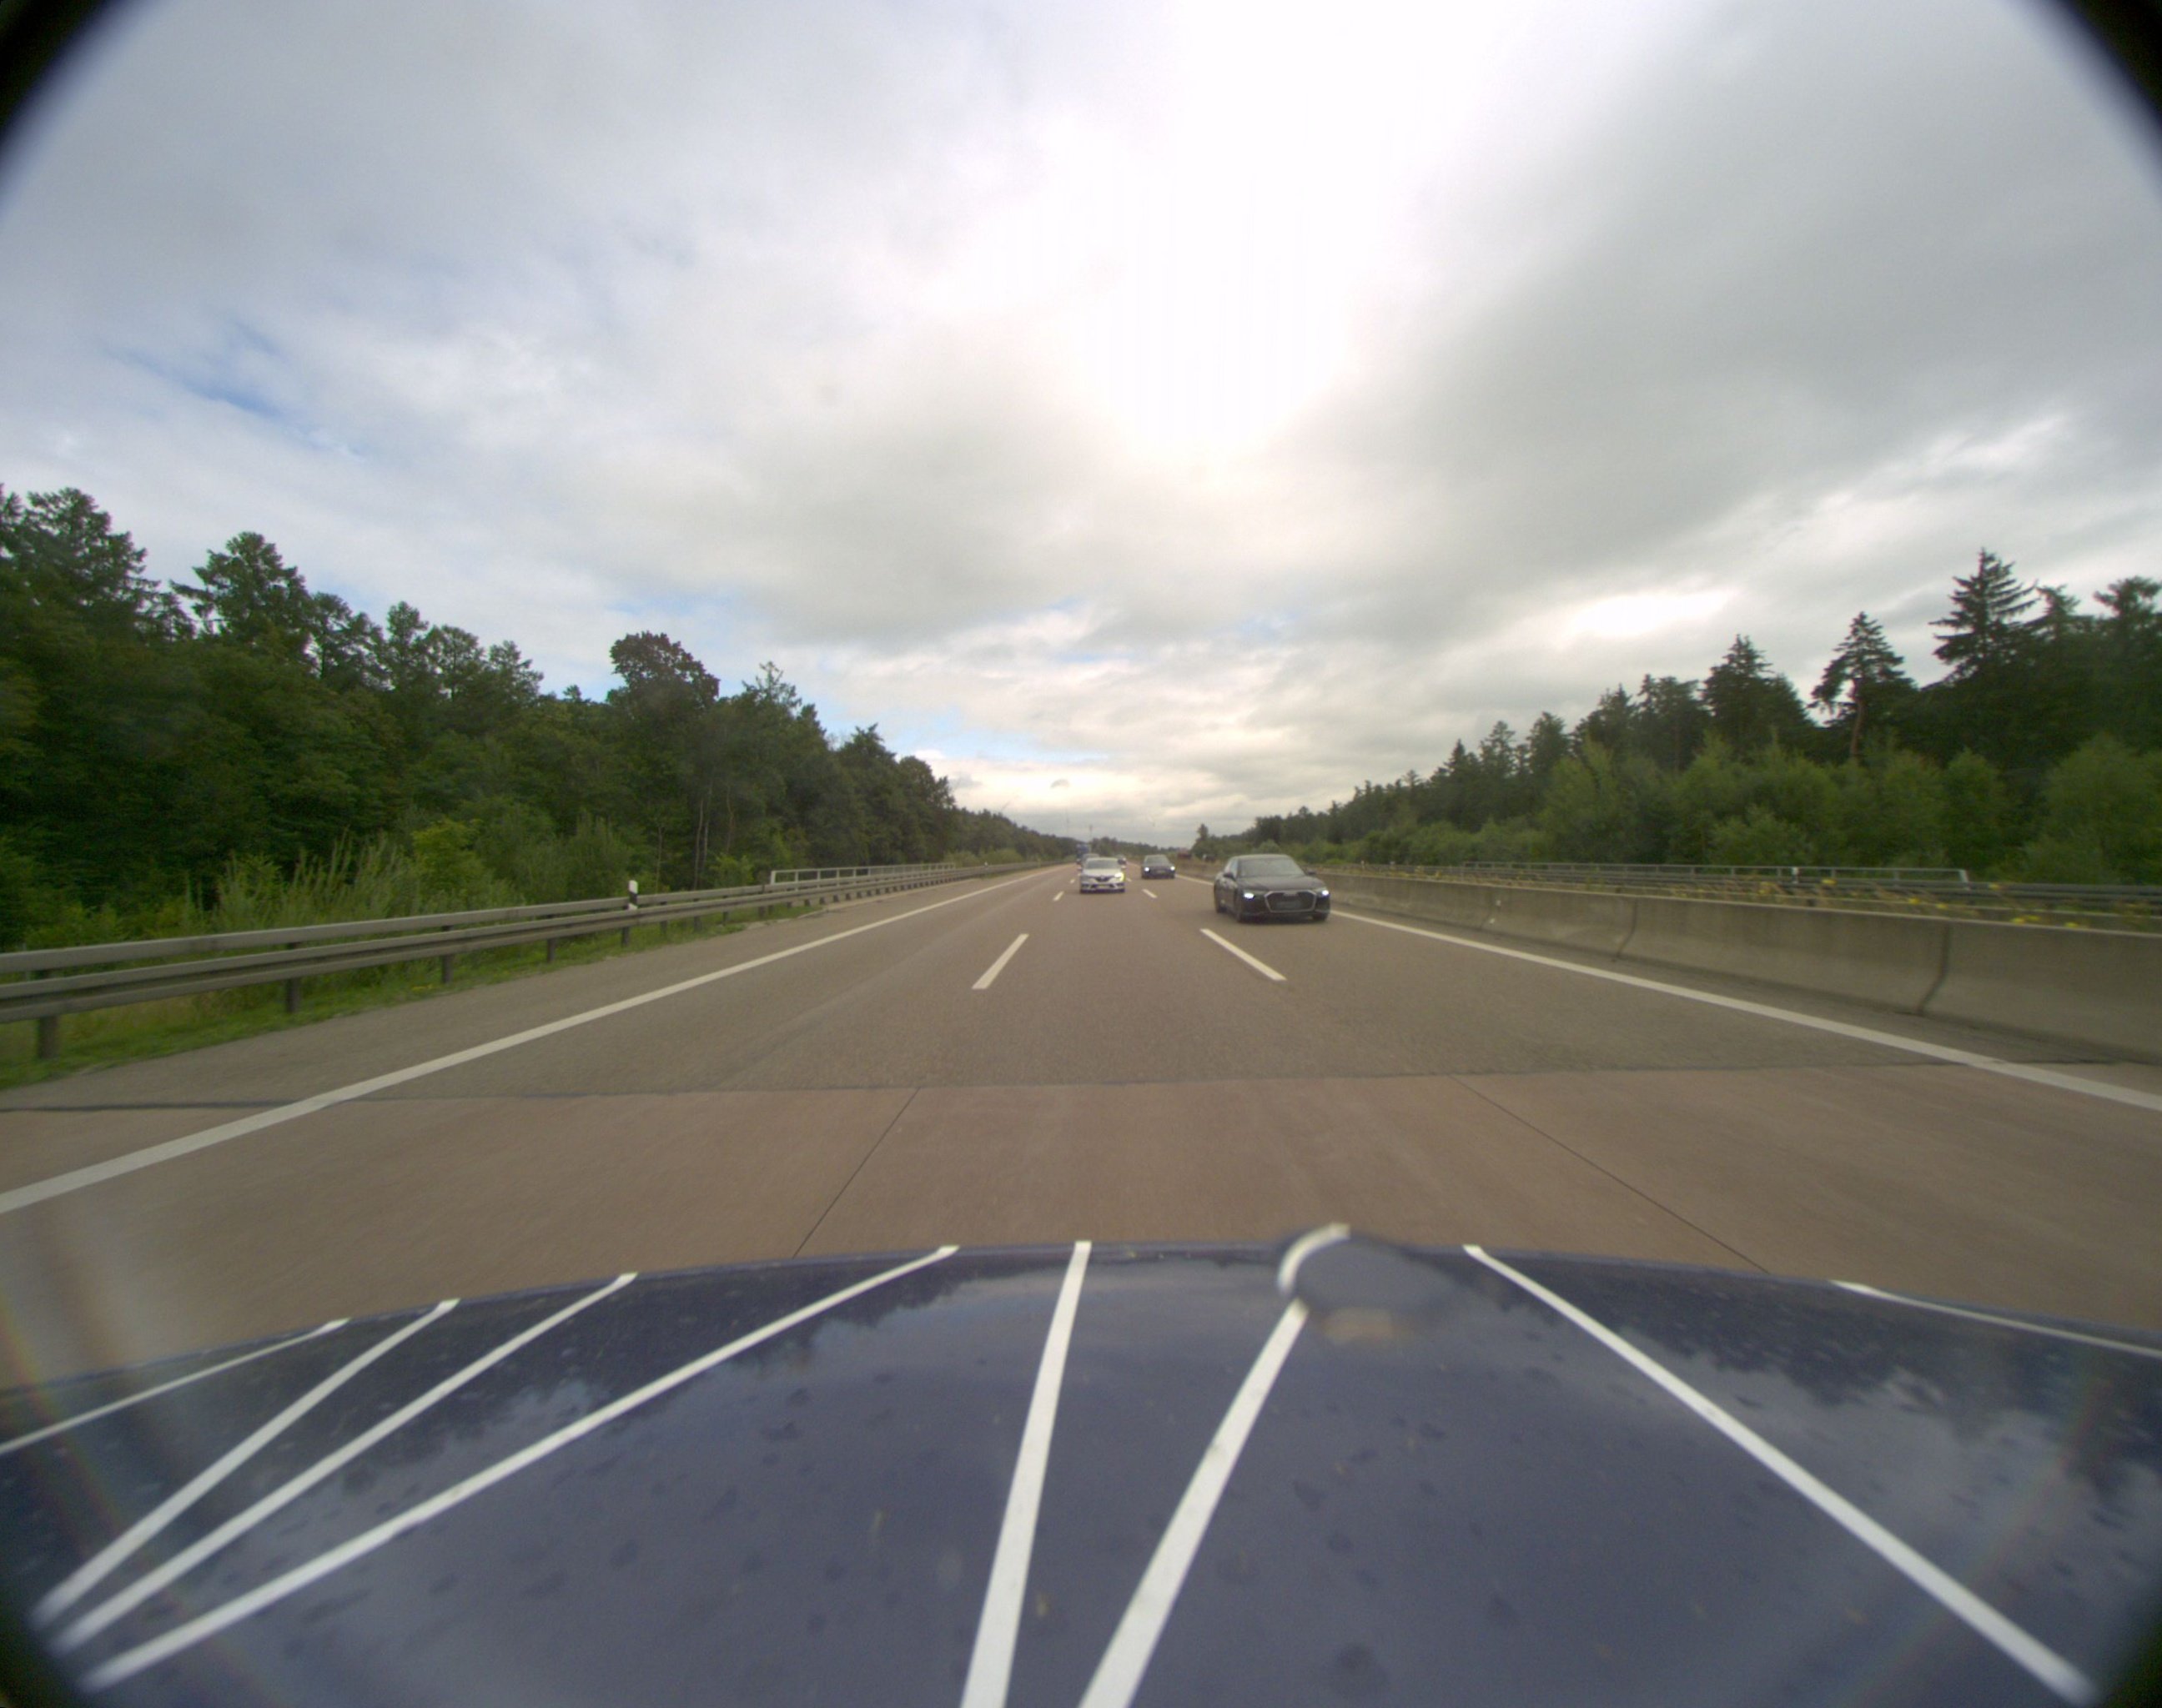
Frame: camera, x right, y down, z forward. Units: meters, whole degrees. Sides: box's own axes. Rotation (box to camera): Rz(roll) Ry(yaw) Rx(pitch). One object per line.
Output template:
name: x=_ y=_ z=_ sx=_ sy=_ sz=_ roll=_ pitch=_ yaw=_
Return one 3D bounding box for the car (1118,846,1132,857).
car: x=7.316 y=-0.376 z=126.343 sx=1.998 sy=1.689 sz=5.252 roll=-2 pitch=1 yaw=1

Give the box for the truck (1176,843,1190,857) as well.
truck: x=25.763 y=-0.895 z=192.697 sx=2.941 sy=3.399 sz=5.345 roll=-2 pitch=0 yaw=2

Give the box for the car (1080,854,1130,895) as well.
car: x=1.037 y=0.804 z=31.855 sx=1.923 sy=1.516 sz=4.001 roll=-2 pitch=0 yaw=3

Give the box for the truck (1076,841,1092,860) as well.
truck: x=0.612 y=-0.714 z=157.735 sx=2.956 sy=3.705 sz=7.949 roll=-4 pitch=0 yaw=1

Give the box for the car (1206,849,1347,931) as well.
car: x=4.325 y=0.694 z=17.867 sx=2.090 sy=1.541 sz=5.675 roll=-2 pitch=0 yaw=3

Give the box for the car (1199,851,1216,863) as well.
car: x=23.361 y=0.472 z=140.360 sx=2.260 sy=2.002 sz=5.269 roll=-4 pitch=0 yaw=2

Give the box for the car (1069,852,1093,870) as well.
car: x=0.030 y=0.612 z=67.351 sx=1.986 sy=1.499 sz=4.052 roll=-2 pitch=0 yaw=1

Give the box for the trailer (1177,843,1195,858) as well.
trailer: x=25.484 y=-0.870 z=185.322 sx=2.941 sy=3.399 sz=13.271 roll=-2 pitch=0 yaw=2

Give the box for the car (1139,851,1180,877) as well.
car: x=4.957 y=0.608 z=48.728 sx=2.064 sy=1.483 sz=5.452 roll=-2 pitch=0 yaw=1
